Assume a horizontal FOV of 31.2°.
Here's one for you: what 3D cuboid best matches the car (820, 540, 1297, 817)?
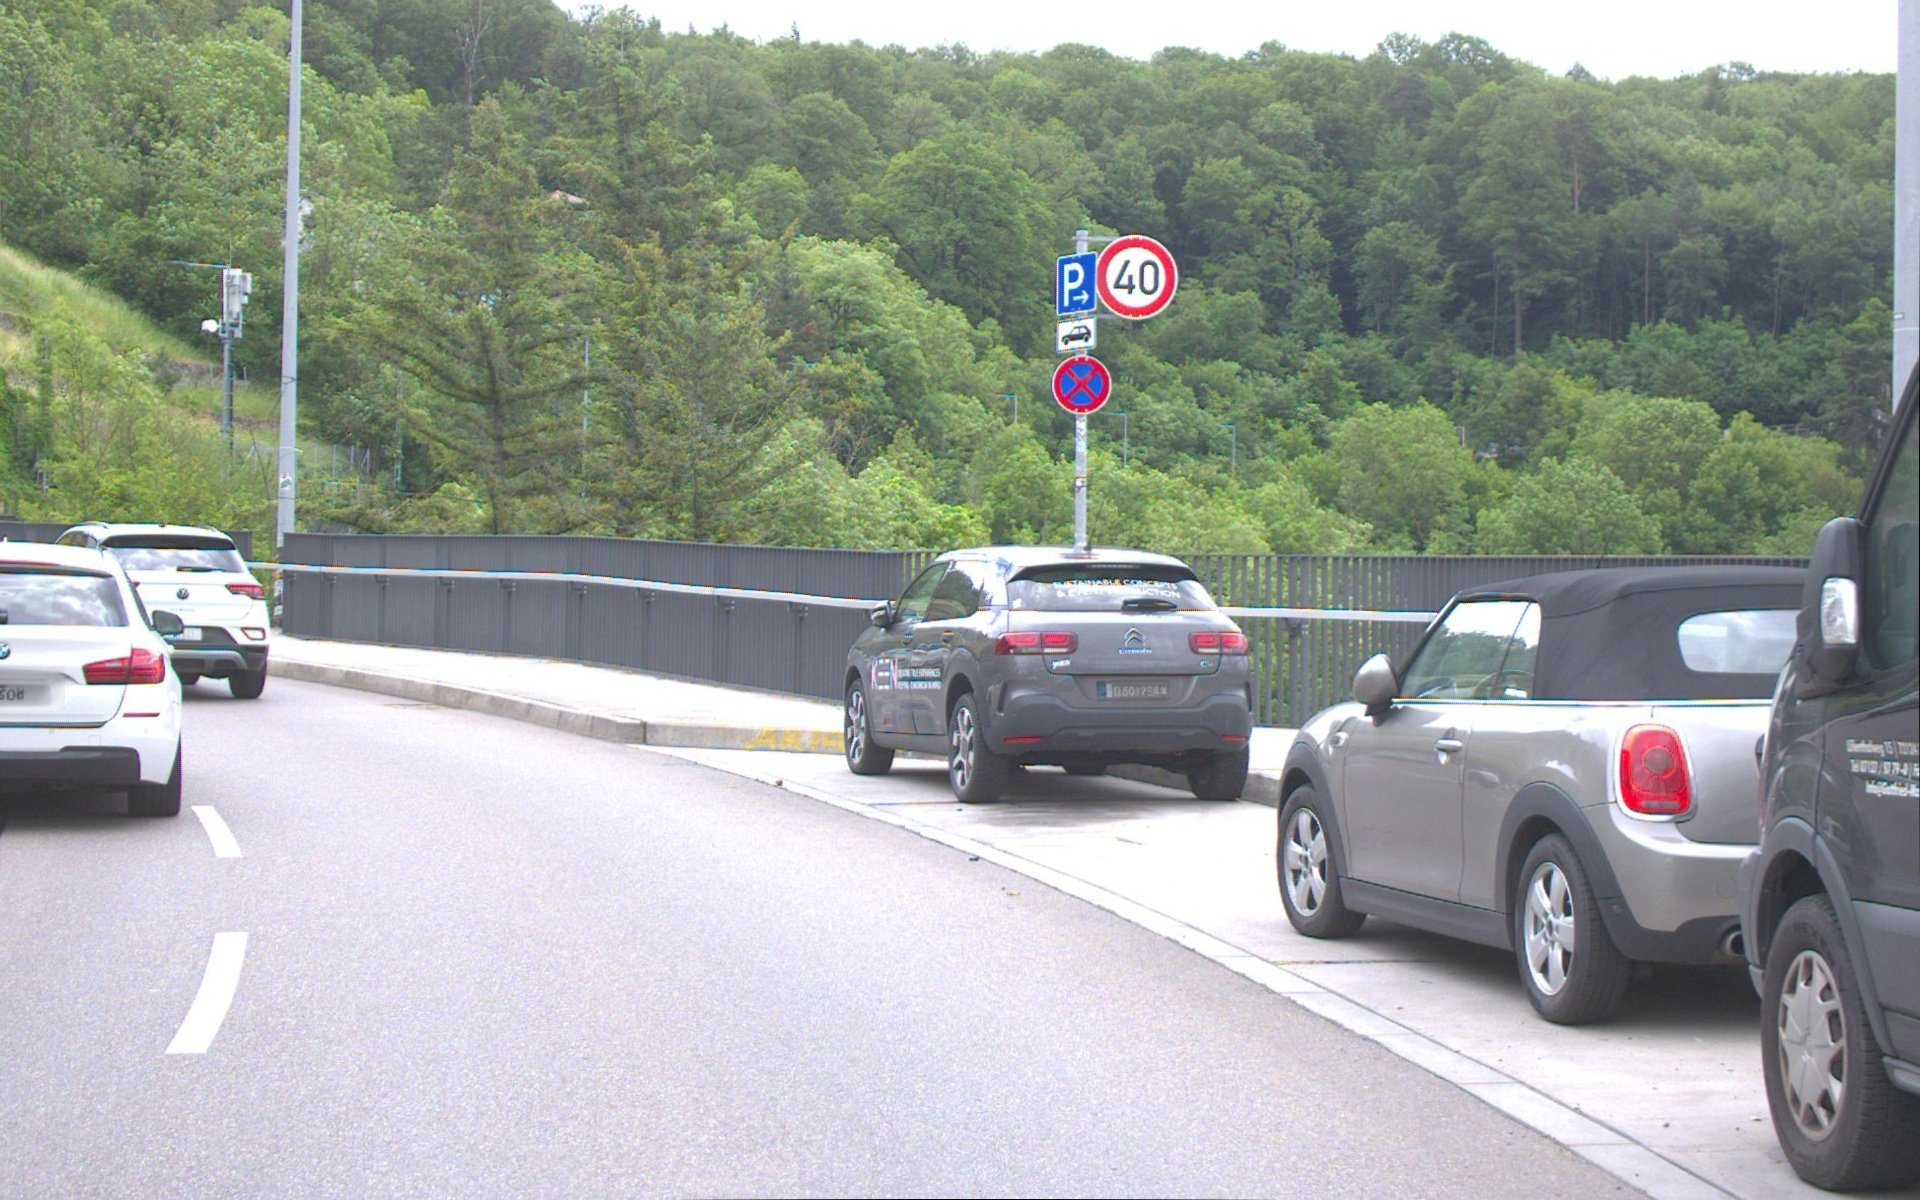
[{"bbox_3d":[0.492,0.419,21.363,1.874,1.537,4.091,1,1,-14],"label":"car"}]

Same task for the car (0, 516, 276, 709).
[{"bbox_3d":[-7.681,0.054,31.864,1.827,1.600,4.001,-2,2,-23],"label":"car"}]

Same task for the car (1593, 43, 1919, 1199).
[{"bbox_3d":[3.061,0.121,6.438,2.166,2.513,5.772,-2,1,-5],"label":"car"}]

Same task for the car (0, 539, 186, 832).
[{"bbox_3d":[-5.389,0.398,19.229,1.827,1.455,4.487,0,1,-16],"label":"car"}]

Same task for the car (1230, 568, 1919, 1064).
[{"bbox_3d":[2.329,0.618,12.167,1.714,1.426,3.851,0,1,-12],"label":"car"}]
